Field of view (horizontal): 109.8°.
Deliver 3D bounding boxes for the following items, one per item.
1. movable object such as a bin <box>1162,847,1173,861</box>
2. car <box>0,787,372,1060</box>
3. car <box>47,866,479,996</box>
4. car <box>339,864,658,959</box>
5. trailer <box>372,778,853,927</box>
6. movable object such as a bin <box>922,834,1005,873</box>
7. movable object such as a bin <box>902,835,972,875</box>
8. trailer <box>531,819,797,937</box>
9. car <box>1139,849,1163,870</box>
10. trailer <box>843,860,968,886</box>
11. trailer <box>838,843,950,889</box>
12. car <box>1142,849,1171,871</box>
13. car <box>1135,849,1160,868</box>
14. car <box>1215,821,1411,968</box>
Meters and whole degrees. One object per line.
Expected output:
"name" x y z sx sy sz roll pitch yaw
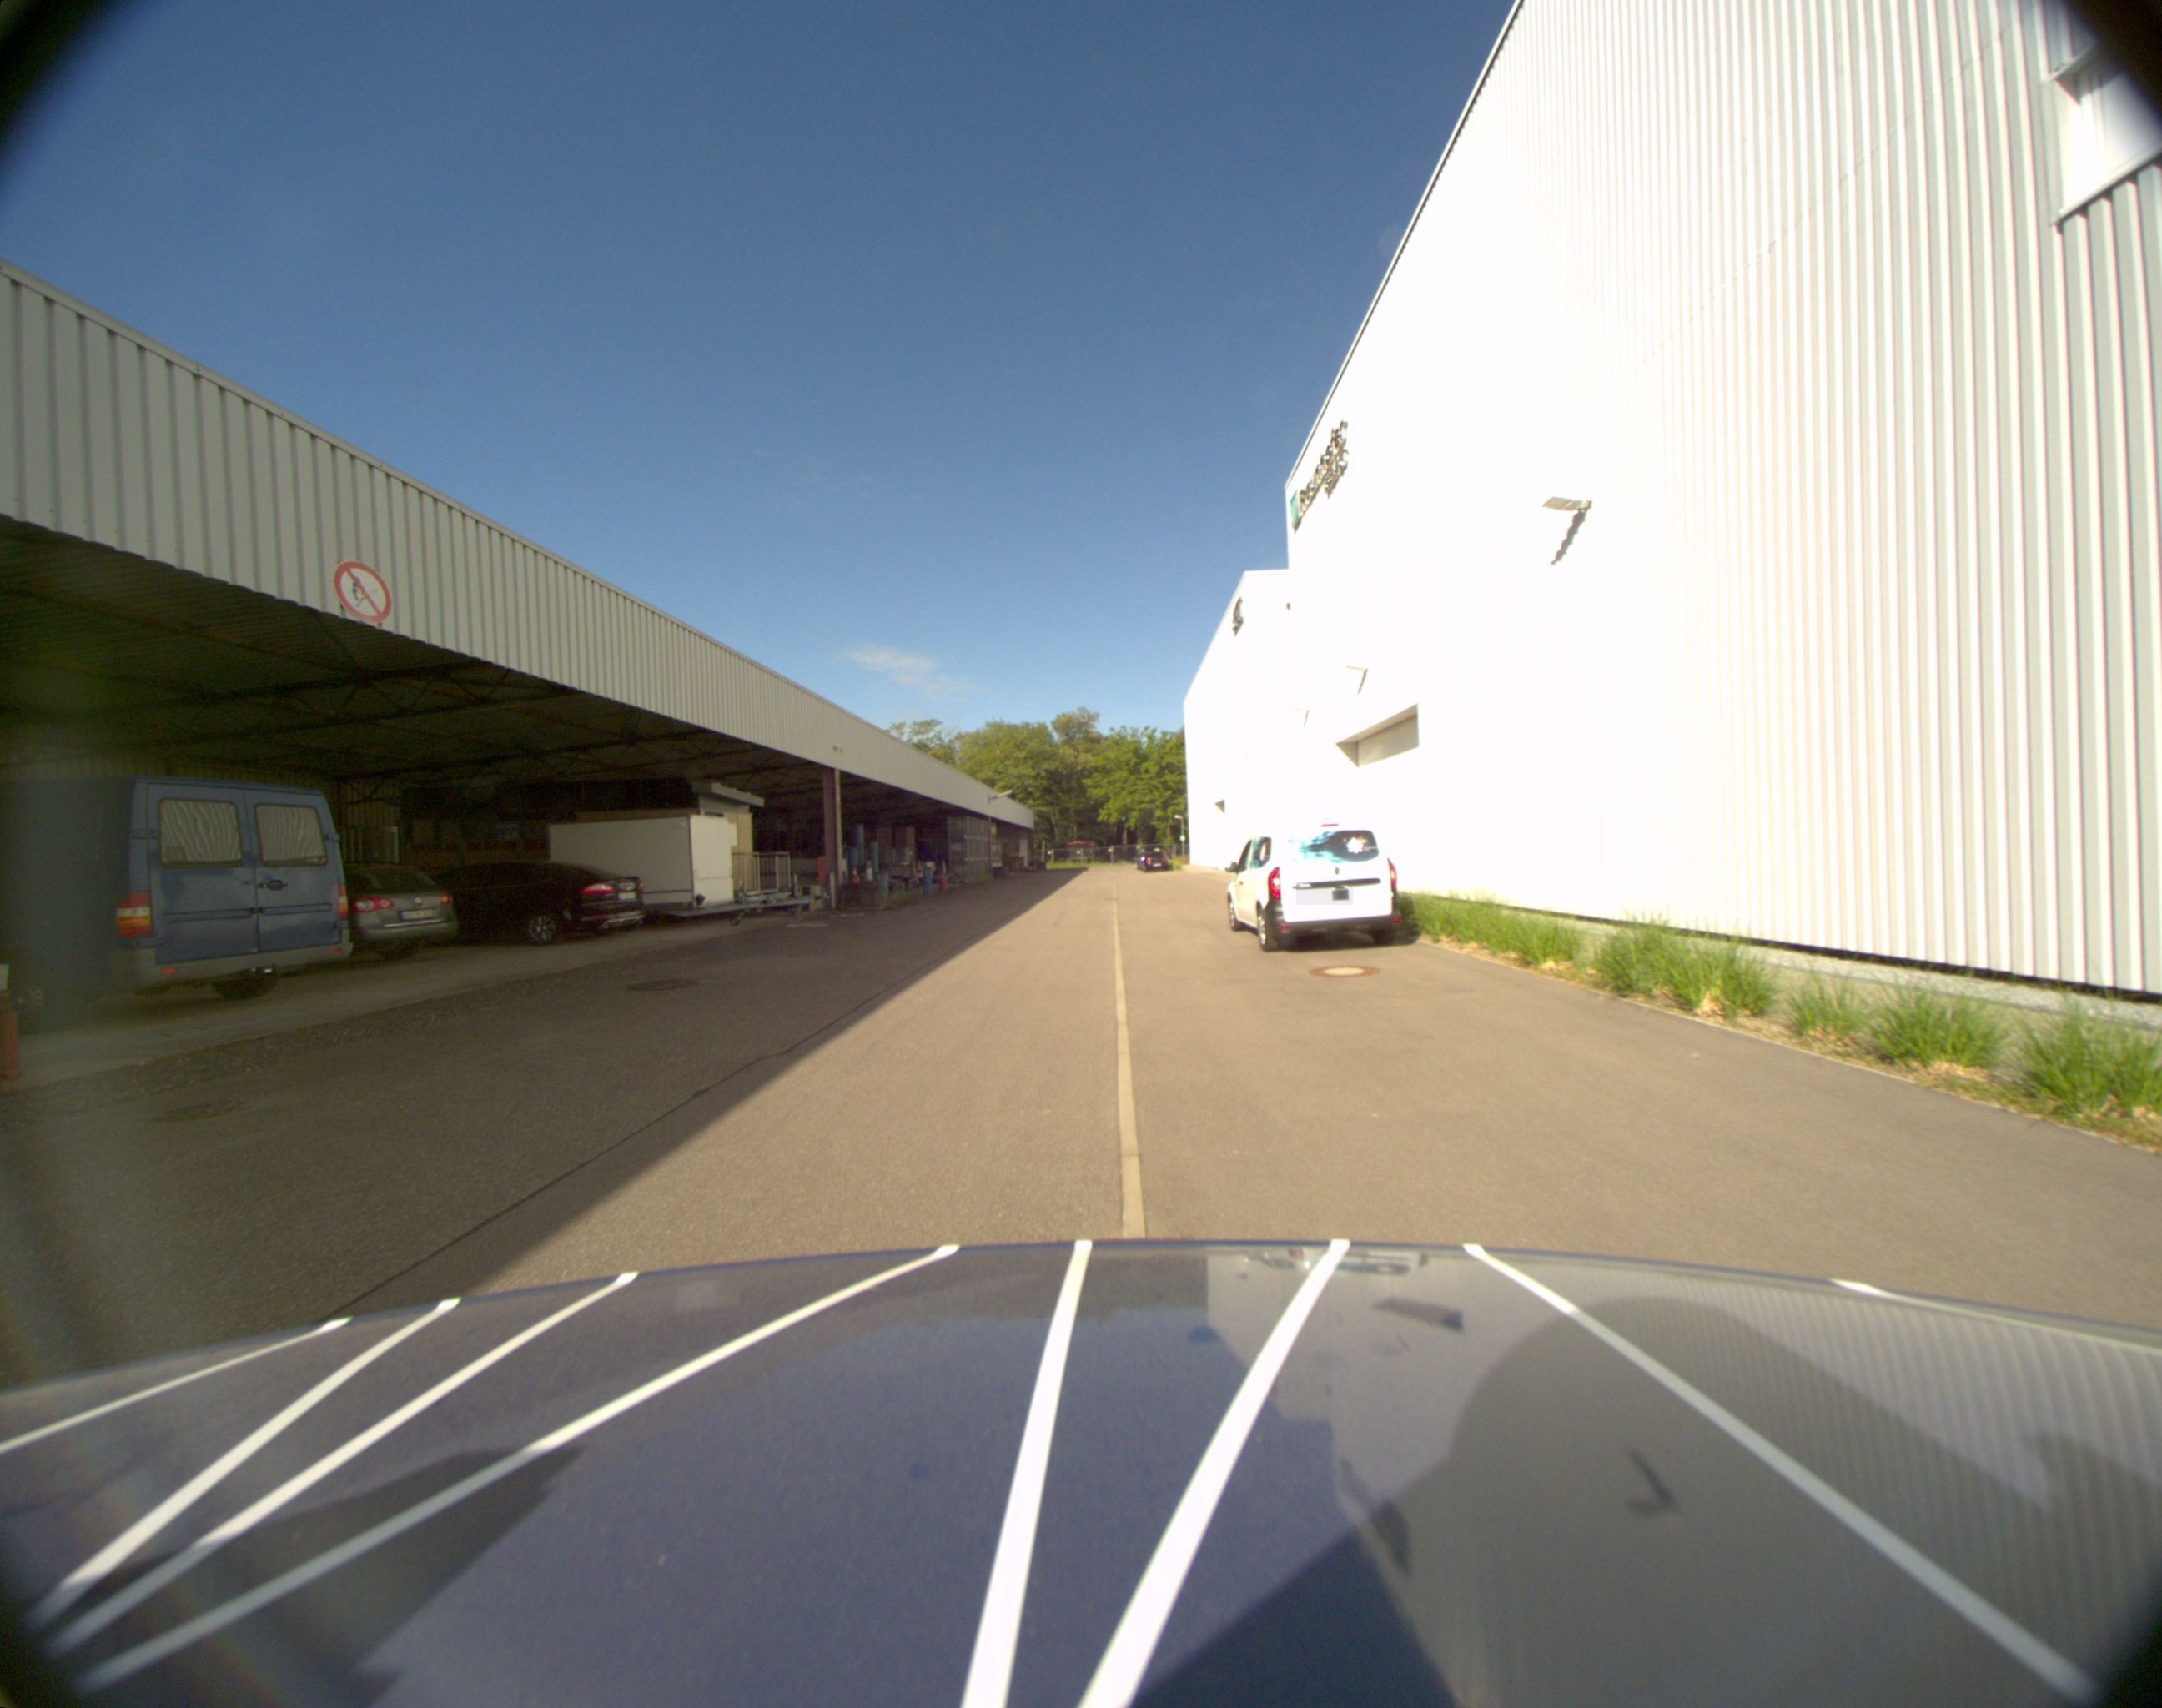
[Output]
"movable object such as a bin" 9.209 -0.019 80.821 1.140 1.426 1.289 0 1 3
"car" -10.671 0.620 7.482 5.345 2.268 2.152 -1 1 2
"car" -11.213 1.003 10.670 3.974 1.505 1.840 -1 1 -1
"car" -10.313 0.974 13.719 4.259 1.463 1.869 -1 0 -1
"trailer" -11.214 -0.017 18.800 10.291 3.324 2.801 -1 1 3
"movable object such as a bin" -9.125 -0.049 59.549 5.847 2.908 2.821 -1 1 3
"movable object such as a bin" -10.610 0.047 56.334 4.537 2.814 2.498 -1 0 3
"trailer" -8.734 0.469 16.202 4.526 2.329 2.047 0 1 3
"car" 5.491 0.400 59.696 1.551 1.480 3.522 -4 0 1
"trailer" -8.696 0.920 37.900 5.742 1.178 1.974 -1 1 1
"trailer" -8.431 0.520 34.539 4.433 1.979 2.163 0 1 4
"car" 5.430 0.421 54.950 1.760 1.437 4.315 -4 0 3
"car" 5.667 0.393 65.205 1.715 1.440 3.798 -4 0 1
"car" 3.393 0.494 12.086 1.788 1.805 4.601 -3 1 2
